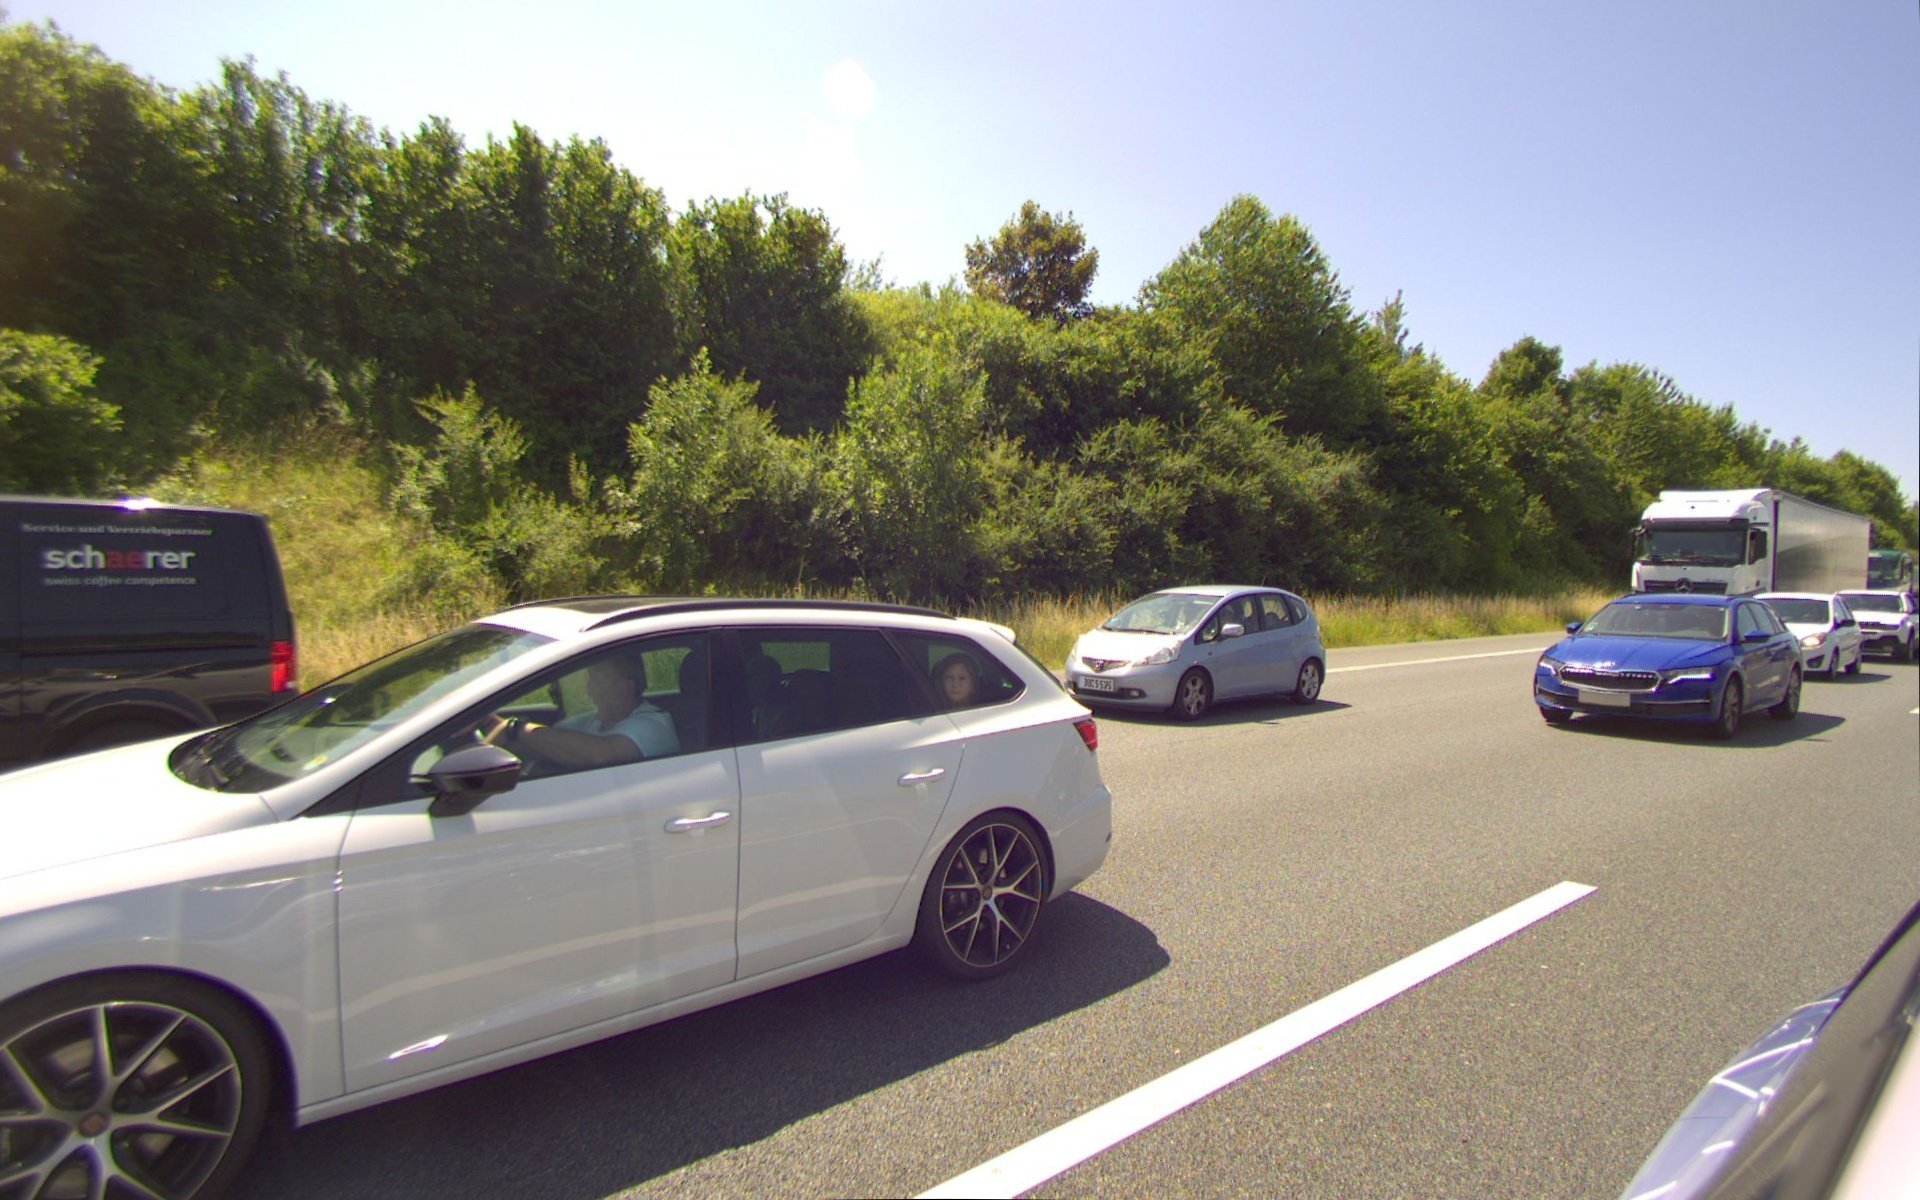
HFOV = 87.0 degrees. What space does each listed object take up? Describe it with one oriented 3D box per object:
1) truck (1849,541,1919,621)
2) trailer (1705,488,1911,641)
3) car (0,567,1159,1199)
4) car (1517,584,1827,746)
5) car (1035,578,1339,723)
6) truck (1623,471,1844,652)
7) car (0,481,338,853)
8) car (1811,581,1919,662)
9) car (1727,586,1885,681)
[{"bbox_3d":[39.874,-0.810,42.936,5.573,3.185,2.299,-1,1,-39],"label":"truck"},{"bbox_3d":[27.645,-1.067,32.674,11.858,4.208,2.880,-1,1,-39],"label":"trailer"},{"bbox_3d":[-1.335,0.617,3.624,4.237,1.461,1.751,-1,2,-40],"label":"car"},{"bbox_3d":[8.285,0.580,11.622,4.491,1.434,1.780,-1,3,-40],"label":"car"},{"bbox_3d":[2.883,0.500,12.460,3.853,1.479,1.665,-1,2,-41],"label":"car"},{"bbox_3d":[21.081,-0.967,27.370,8.322,4.208,2.880,-1,1,-39],"label":"truck"},{"bbox_3d":[-6.315,0.347,5.520,4.770,1.964,1.918,-1,2,-40],"label":"car"},{"bbox_3d":[20.524,0.404,22.518,3.816,1.577,1.748,-1,3,-40],"label":"car"},{"bbox_3d":[15.251,0.508,18.192,3.744,1.451,1.608,-1,3,-41],"label":"car"}]
